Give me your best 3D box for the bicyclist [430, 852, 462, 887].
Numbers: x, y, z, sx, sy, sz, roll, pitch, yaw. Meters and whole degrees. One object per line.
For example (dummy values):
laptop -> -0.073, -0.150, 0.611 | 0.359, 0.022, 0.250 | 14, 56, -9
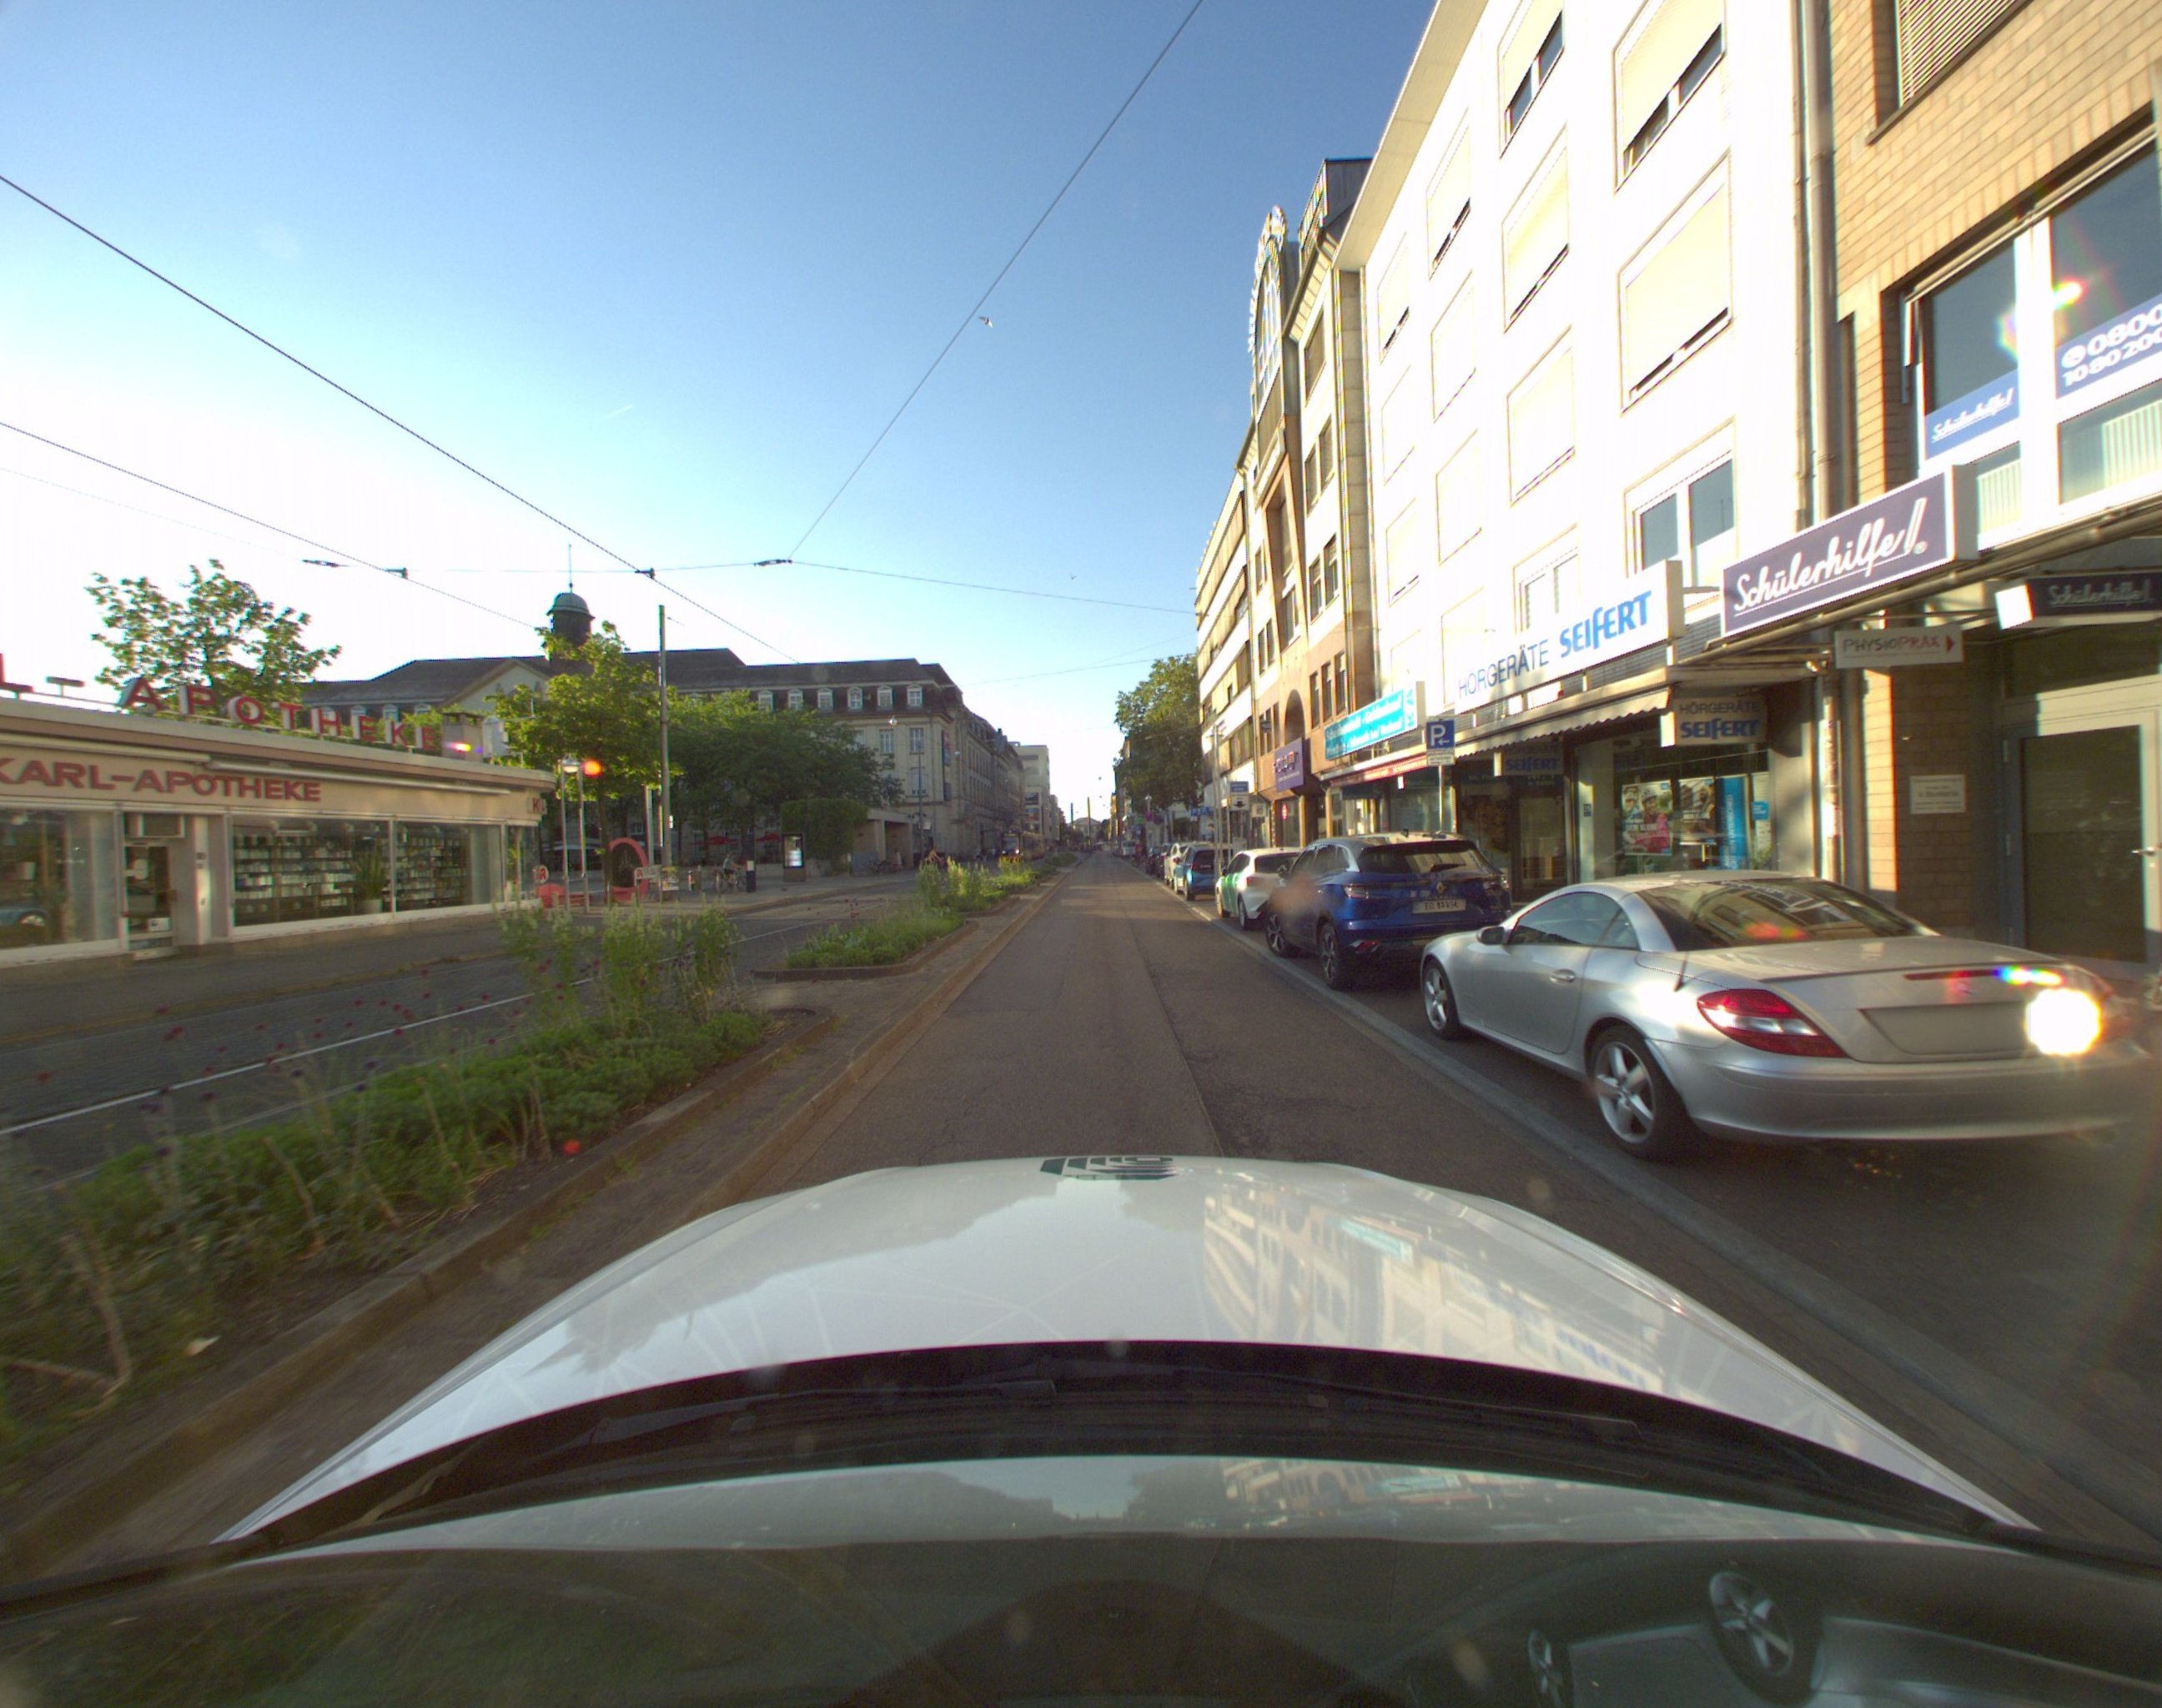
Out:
bicyclist -> -38.094, 0.919, 48.872 | 0.955, 2.018, 1.143 | -2, -1, 0

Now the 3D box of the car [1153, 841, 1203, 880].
car -> 4.348, 0.232, 37.239 | 1.769, 1.538, 4.579 | -2, 2, 1

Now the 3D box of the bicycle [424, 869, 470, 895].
bicycle -> -38.059, 1.682, 48.867 | 2.234, 1.476, 0.579 | -2, -1, -1

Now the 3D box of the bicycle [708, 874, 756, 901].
bicycle -> -15.945, 1.531, 37.285 | 1.946, 1.112, 0.455 | -2, -2, -40

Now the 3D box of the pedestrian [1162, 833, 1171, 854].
pedestrian -> 7.122, -0.867, 67.782 | 0.611, 1.717, 0.662 | -2, -1, 3

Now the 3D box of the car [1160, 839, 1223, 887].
car -> 3.990, 0.283, 30.016 | 1.809, 1.585, 4.726 | -2, 1, 2

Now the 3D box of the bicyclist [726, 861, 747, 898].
bicyclist -> -15.837, 1.159, 37.406 | 0.708, 1.668, 0.621 | -1, -2, -40

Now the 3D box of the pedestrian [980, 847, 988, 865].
pedestrian -> -9.974, 0.211, 83.678 | 0.730, 1.840, 0.715 | -2, -1, 1

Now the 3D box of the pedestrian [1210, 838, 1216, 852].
pedestrian -> 12.329, -0.870, 76.124 | 0.473, 1.285, 0.528 | -3, -2, 18

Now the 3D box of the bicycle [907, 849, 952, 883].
bicycle -> -8.149, 0.617, 43.983 | 2.381, 1.740, 0.596 | -2, 1, -43

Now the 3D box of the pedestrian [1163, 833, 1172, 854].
pedestrian -> 7.108, -0.855, 67.112 | 0.675, 1.717, 0.655 | -2, -1, 3

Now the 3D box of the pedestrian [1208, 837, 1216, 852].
pedestrian -> 11.980, -0.881, 74.464 | 0.639, 1.285, 0.744 | -3, -2, 17

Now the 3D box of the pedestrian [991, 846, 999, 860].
pedestrian -> -10.417, -0.142, 98.291 | 0.811, 1.707, 0.762 | -2, -1, 1

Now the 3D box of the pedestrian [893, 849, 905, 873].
pedestrian -> -14.545, 0.574, 65.105 | 0.721, 1.934, 0.793 | -2, -1, 4

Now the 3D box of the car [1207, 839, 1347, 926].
car -> 3.708, 0.523, 16.150 | 1.725, 1.435, 4.151 | -2, -1, 0

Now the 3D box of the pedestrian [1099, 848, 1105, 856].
pedestrian -> 5.283, -0.607, 203.847 | 1.231, 1.928, 1.017 | -2, 0, -15

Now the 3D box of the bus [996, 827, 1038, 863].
bus -> -7.030, -0.998, 92.365 | 2.812, 3.651, 17.079 | -2, 1, 2

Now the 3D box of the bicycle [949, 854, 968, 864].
bicycle -> -14.164, 0.572, 93.976 | 2.093, 1.148, 0.574 | -2, -1, -4

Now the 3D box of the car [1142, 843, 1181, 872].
car -> 4.296, 0.162, 43.978 | 1.649, 1.380, 4.342 | -6, 0, 1

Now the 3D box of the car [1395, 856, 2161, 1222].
car -> 3.456, 0.693, 5.028 | 1.666, 1.282, 4.068 | -2, 0, 4

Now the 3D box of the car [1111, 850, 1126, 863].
car -> 5.204, 0.349, 113.530 | 1.986, 1.761, 4.422 | -2, 0, 1

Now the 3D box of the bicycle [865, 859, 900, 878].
bicycle -> -13.879, 1.020, 56.970 | 2.233, 1.255, 0.580 | -2, -1, 1

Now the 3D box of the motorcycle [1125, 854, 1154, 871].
motorcycle -> 4.171, 0.597, 57.902 | 2.033, 1.123, 0.569 | -2, -1, 6

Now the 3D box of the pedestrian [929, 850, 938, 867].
pedestrian -> -14.050, 0.409, 77.755 | 0.717, 1.645, 0.655 | -1, 0, -21

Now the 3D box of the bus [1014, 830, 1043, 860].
bus -> -6.656, -1.167, 105.060 | 2.812, 3.624, 8.292 | -2, 1, 1

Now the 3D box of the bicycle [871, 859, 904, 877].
bicycle -> -13.938, 1.018, 58.645 | 2.233, 1.232, 0.585 | -2, 0, 1

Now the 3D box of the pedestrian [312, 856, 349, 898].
pedestrian -> -38.313, 1.150, 41.578 | 0.935, 2.060, 0.930 | -1, 1, -4

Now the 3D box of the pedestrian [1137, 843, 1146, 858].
pedestrian -> 7.265, -0.453, 97.854 | 0.785, 1.751, 0.893 | -2, -1, -6

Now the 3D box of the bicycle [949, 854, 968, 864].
bicycle -> -14.213, 0.586, 94.643 | 2.073, 1.148, 0.574 | -2, -1, -4

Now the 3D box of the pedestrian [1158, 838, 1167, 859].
pedestrian -> 7.106, -0.475, 70.875 | 0.711, 1.803, 0.825 | -3, 0, 4

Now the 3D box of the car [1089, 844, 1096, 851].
car -> 3.329, -1.842, 235.509 | 1.754, 1.827, 3.570 | -2, -1, 1

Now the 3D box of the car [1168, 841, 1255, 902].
car -> 3.744, 0.445, 24.234 | 1.803, 1.552, 4.836 | -2, 0, 0

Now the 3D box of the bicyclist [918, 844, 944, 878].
bicyclist -> -8.106, 0.390, 44.001 | 0.937, 1.776, 0.959 | -1, -1, -43

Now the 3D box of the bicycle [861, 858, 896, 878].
bicycle -> -13.791, 0.965, 55.442 | 2.189, 1.300, 0.580 | -2, -1, 1

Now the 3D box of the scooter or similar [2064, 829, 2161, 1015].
scooter or similar -> 7.171, 0.443, 4.962 | 0.458, 1.183, 1.572 | -2, 1, 0

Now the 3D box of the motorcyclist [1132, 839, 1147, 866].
motorcyclist -> 4.174, -0.099, 57.898 | 0.997, 1.813, 0.961 | -2, -1, 6

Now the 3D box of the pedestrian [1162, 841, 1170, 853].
pedestrian -> 9.615, -0.819, 92.456 | 0.820, 1.306, 0.869 | -2, -1, 0

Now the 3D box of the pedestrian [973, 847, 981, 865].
pedestrian -> -10.695, 0.193, 83.839 | 0.690, 1.847, 0.662 | -2, -1, 1

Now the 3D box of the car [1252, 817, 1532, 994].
car -> 3.381, 0.463, 9.821 | 1.759, 1.605, 4.288 | -2, 1, 1

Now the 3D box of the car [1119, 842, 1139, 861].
car -> 5.175, -0.278, 88.712 | 1.908, 1.981, 4.422 | -2, 0, 1
